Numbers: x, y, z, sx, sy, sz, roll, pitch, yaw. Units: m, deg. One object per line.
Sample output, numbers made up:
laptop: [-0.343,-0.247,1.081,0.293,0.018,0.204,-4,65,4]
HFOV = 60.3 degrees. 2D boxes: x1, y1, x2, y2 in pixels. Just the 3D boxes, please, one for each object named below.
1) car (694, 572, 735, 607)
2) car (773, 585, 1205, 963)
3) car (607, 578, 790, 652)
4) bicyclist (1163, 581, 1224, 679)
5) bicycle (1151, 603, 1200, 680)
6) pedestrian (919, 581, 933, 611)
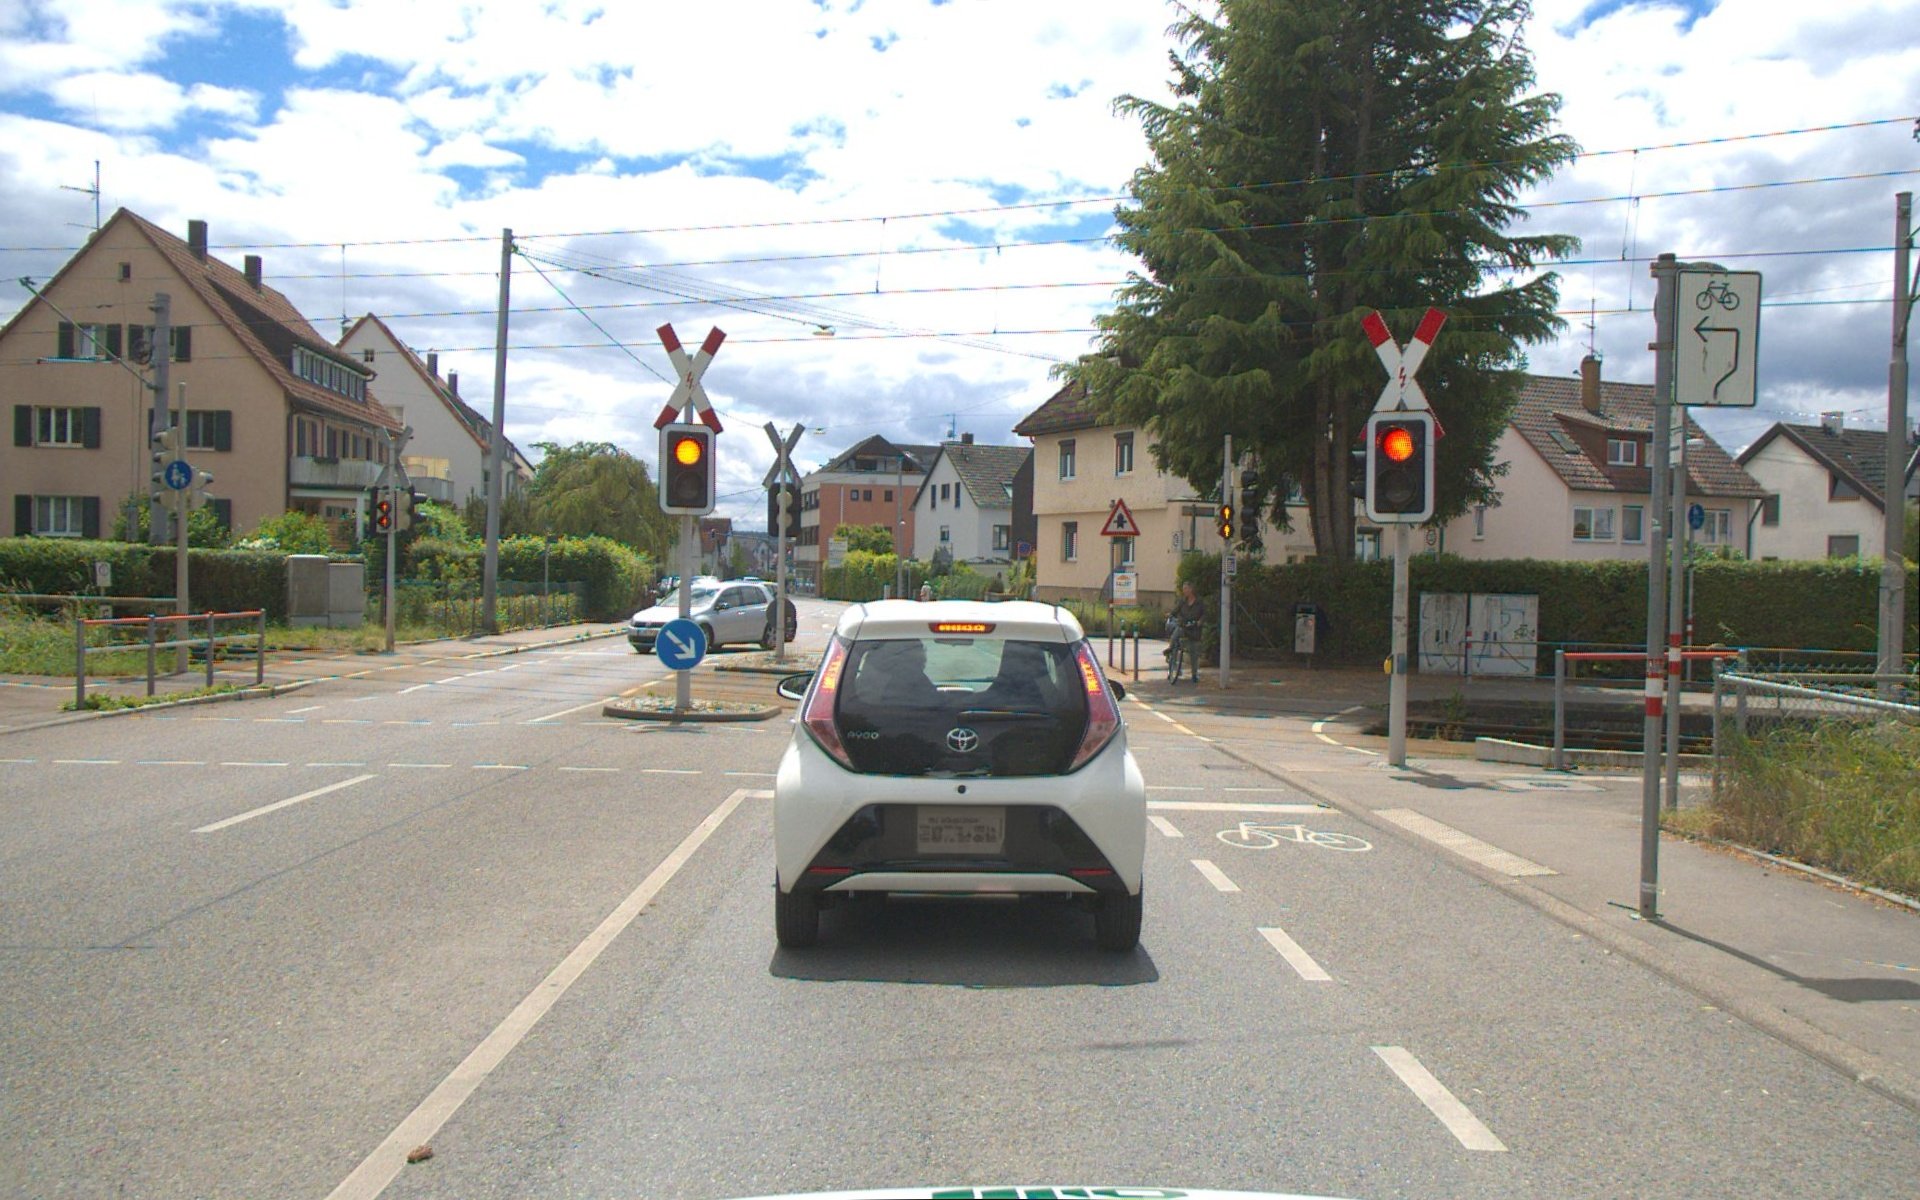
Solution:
car: [-12.940,-0.570,87.245,1.956,1.749,3.994,2,0,-7]
car: [-0.007,0.689,8.455,1.687,1.467,3.705,2,0,-4]
car: [-5.637,0.328,36.143,1.868,1.466,4.094,2,0,27]
bicyclist: [3.945,0.493,27.995,0.825,1.580,0.755,-2,3,-7]
bicycle: [3.656,0.691,28.132,0.448,1.192,1.477,-2,3,-6]
pedestrian: [-1.833,-0.225,90.120,0.711,1.604,0.803,2,0,-1]
